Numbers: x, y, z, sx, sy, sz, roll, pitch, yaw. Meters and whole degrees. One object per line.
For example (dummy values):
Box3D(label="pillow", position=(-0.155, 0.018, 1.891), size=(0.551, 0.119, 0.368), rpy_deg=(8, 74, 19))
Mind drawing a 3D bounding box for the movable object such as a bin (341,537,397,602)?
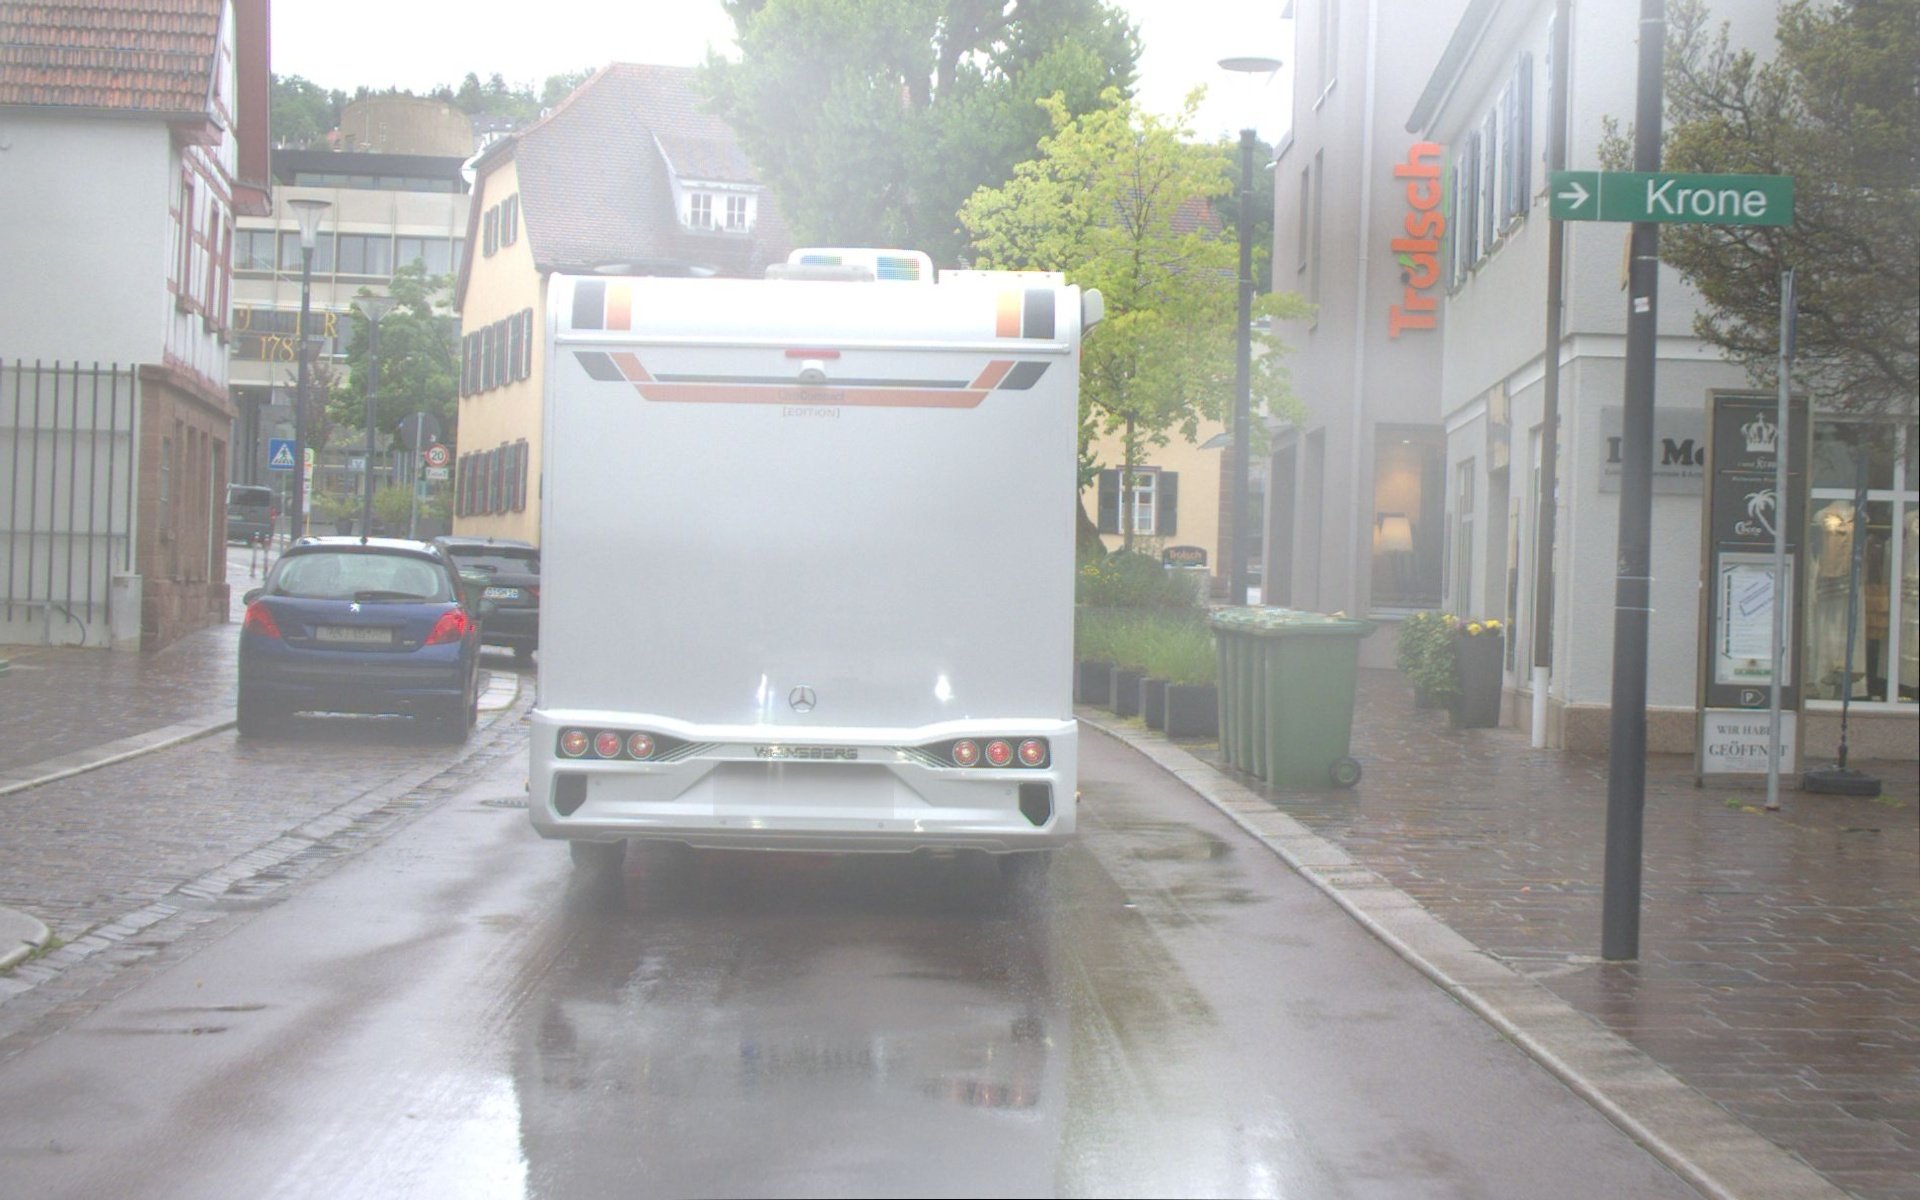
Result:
Box3D(label="movable object such as a bin", position=(-9.743, -0.504, 56.642), size=(0.818, 1.047, 0.700), rpy_deg=(1, 0, -16))

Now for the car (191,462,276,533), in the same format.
Box3D(label="car", position=(-22.143, -3.084, 104.694), size=(1.993, 2.007, 4.001), rpy_deg=(1, 0, -19))

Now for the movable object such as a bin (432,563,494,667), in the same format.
Box3D(label="movable object such as a bin", position=(-5.404, 0.160, 37.338), size=(0.630, 1.109, 0.734), rpy_deg=(1, 0, -9))

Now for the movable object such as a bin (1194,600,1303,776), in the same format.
Box3D(label="movable object such as a bin", position=(2.065, 0.624, 24.701), size=(0.678, 1.236, 0.731), rpy_deg=(1, 0, -1))

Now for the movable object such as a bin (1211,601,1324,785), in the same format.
Box3D(label="movable object such as a bin", position=(2.095, 0.626, 23.471), size=(0.678, 1.228, 0.565), rpy_deg=(1, 0, -1))

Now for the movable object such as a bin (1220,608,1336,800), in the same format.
Box3D(label="movable object such as a bin", position=(2.114, 0.686, 22.906), size=(0.678, 1.252, 0.543), rpy_deg=(1, 0, -1))

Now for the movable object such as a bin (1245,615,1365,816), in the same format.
Box3D(label="movable object such as a bin", position=(2.179, 0.723, 21.766), size=(0.658, 1.234, 0.621), rpy_deg=(1, 0, -1))

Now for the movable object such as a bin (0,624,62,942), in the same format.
Box3D(label="movable object such as a bin", position=(-3.744, 0.623, 12.382), size=(0.815, 1.102, 0.610), rpy_deg=(5, -1, -5))

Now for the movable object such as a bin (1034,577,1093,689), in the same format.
Box3D(label="movable object such as a bin", position=(1.079, 0.341, 35.921), size=(0.543, 1.152, 0.577), rpy_deg=(1, 0, -4))

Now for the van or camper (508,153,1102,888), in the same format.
Box3D(label="van or camper", position=(-0.820, -0.311, 17.046), size=(2.325, 2.909, 6.394), rpy_deg=(1, 0, -4))

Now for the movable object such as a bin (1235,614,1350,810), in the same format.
Box3D(label="movable object such as a bin", position=(2.155, 0.721, 22.352), size=(0.658, 1.241, 0.543), rpy_deg=(1, 0, -1))

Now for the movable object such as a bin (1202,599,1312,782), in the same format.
Box3D(label="movable object such as a bin", position=(2.073, 0.625, 24.046), size=(0.678, 1.246, 0.565), rpy_deg=(1, 0, -1))

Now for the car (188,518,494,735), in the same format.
Box3D(label="car", position=(-4.662, 0.152, 26.401), size=(1.993, 1.467, 4.001), rpy_deg=(2, 1, -6))

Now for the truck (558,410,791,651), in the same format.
Box3D(label="truck", position=(-3.894, -0.863, 45.751), size=(2.461, 2.929, 6.199), rpy_deg=(1, 0, -10))

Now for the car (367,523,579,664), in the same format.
Box3D(label="car", position=(-5.900, -0.118, 41.282), size=(1.993, 1.489, 4.002), rpy_deg=(3, 1, -15))
